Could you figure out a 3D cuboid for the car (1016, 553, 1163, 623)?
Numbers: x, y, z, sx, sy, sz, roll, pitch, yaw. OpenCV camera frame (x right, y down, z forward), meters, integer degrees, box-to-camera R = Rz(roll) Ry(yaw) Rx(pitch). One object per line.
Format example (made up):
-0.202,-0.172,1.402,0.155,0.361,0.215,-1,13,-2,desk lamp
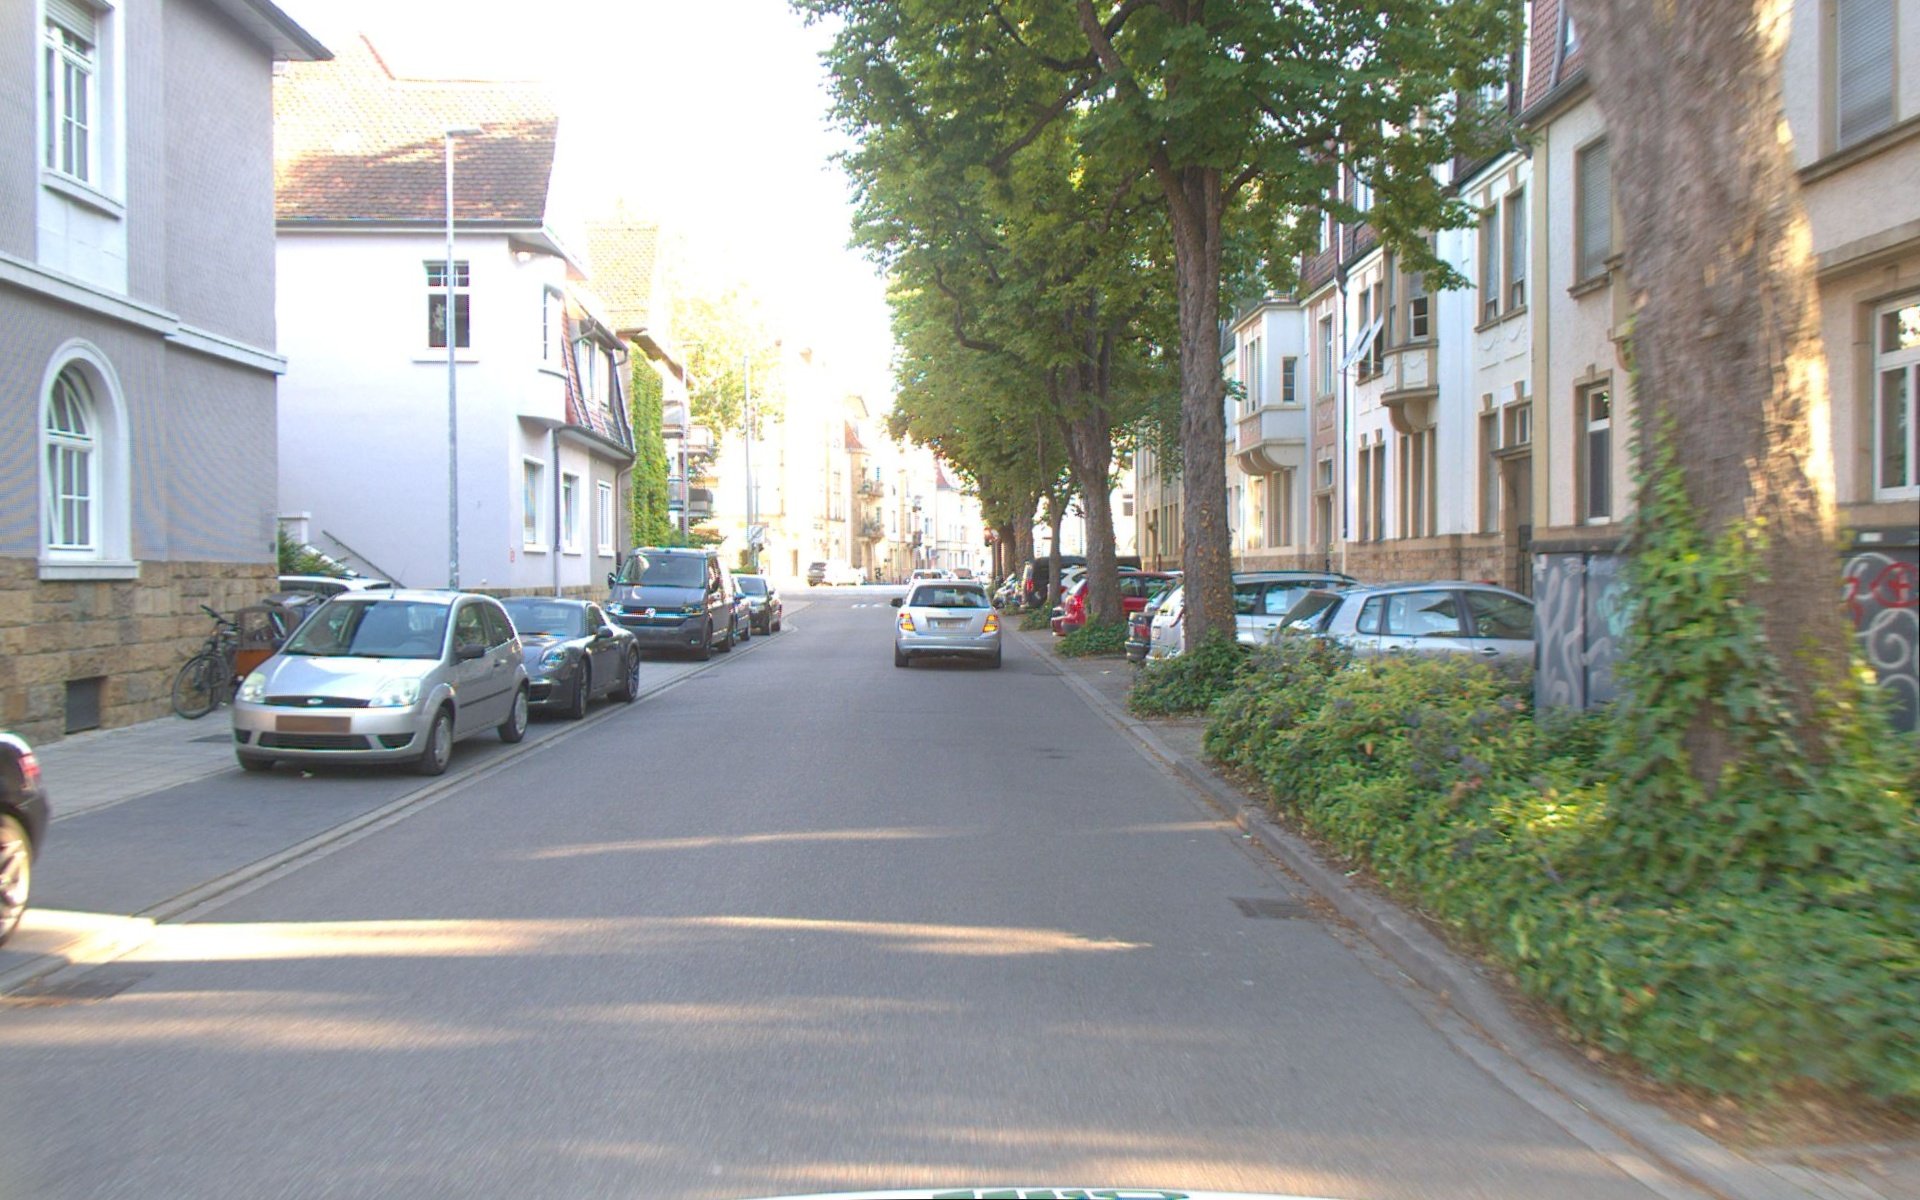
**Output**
3.822,-0.372,49.314,4.136,1.929,1.905,-2,1,-3,car

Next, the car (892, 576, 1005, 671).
-0.194,0.346,27.736,1.747,1.462,3.850,1,1,0,car

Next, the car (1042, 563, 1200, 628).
4.300,-0.144,44.626,4.027,1.598,1.877,-2,1,-1,car

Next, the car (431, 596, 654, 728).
-4.878,0.660,19.873,1.499,1.342,4.228,1,1,1,car

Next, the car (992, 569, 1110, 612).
3.348,-0.356,61.495,4.203,1.442,1.876,-2,2,-4,car

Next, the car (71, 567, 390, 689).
-10.446,0.370,23.939,3.788,1.649,1.896,0,2,-5,car

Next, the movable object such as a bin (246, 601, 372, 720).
-7.826,0.694,19.993,0.707,1.306,2.096,0,1,-1,movable object such as a bin

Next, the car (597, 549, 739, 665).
-5.410,0.058,31.230,1.942,1.981,4.850,1,1,-2,car

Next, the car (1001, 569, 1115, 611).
3.751,-0.406,63.945,4.203,1.567,1.898,0,1,-4,car

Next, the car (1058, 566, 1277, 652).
4.043,0.150,32.727,4.103,1.501,1.852,-2,1,1,car

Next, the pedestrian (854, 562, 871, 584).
-7.768,-2.140,132.271,1.195,1.751,1.504,1,1,2,pedestrian

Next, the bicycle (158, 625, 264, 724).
-8.127,0.785,18.012,0.386,0.953,1.722,0,1,-1,bicycle

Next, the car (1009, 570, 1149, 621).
3.732,-0.156,52.315,4.203,1.567,1.876,0,1,-4,car

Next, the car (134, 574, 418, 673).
-10.704,0.347,26.091,3.788,1.468,1.634,0,2,-5,car

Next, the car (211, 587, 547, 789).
-5.003,0.670,14.814,1.620,1.470,3.960,1,1,0,car

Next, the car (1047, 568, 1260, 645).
4.066,0.116,35.327,4.320,1.443,1.877,-2,1,1,car

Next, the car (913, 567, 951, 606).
-1.196,-0.616,72.397,1.590,1.597,3.680,0,2,0,car

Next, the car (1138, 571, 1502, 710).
4.366,0.456,20.384,4.067,1.604,1.710,0,1,-6,car

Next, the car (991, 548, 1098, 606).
3.515,-0.986,69.407,4.301,2.405,1.999,0,1,-4,car

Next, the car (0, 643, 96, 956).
-5.081,0.913,6.064,1.619,1.346,4.046,1,1,1,car

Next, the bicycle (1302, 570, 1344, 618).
8.629,-0.158,39.380,0.464,1.075,2.045,-2,1,-2,bicycle

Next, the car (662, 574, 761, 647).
-5.537,0.194,37.251,1.620,1.472,4.237,1,1,-1,car

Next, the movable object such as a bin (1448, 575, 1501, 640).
8.867,0.127,28.508,0.686,1.067,0.541,-4,1,-2,movable object such as a bin

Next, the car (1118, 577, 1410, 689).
4.152,0.428,23.005,3.716,1.463,1.817,0,1,-2,car

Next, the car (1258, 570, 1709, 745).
4.913,0.492,15.807,3.720,1.463,1.747,-2,1,-6,car

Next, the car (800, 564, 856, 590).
-8.365,-1.487,105.187,1.953,1.612,4.000,1,2,22,car

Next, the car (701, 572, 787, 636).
-5.466,0.067,42.233,1.660,1.472,4.357,1,1,-1,car

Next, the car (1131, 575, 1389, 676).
4.566,0.369,25.518,3.715,1.509,1.561,0,1,1,car
